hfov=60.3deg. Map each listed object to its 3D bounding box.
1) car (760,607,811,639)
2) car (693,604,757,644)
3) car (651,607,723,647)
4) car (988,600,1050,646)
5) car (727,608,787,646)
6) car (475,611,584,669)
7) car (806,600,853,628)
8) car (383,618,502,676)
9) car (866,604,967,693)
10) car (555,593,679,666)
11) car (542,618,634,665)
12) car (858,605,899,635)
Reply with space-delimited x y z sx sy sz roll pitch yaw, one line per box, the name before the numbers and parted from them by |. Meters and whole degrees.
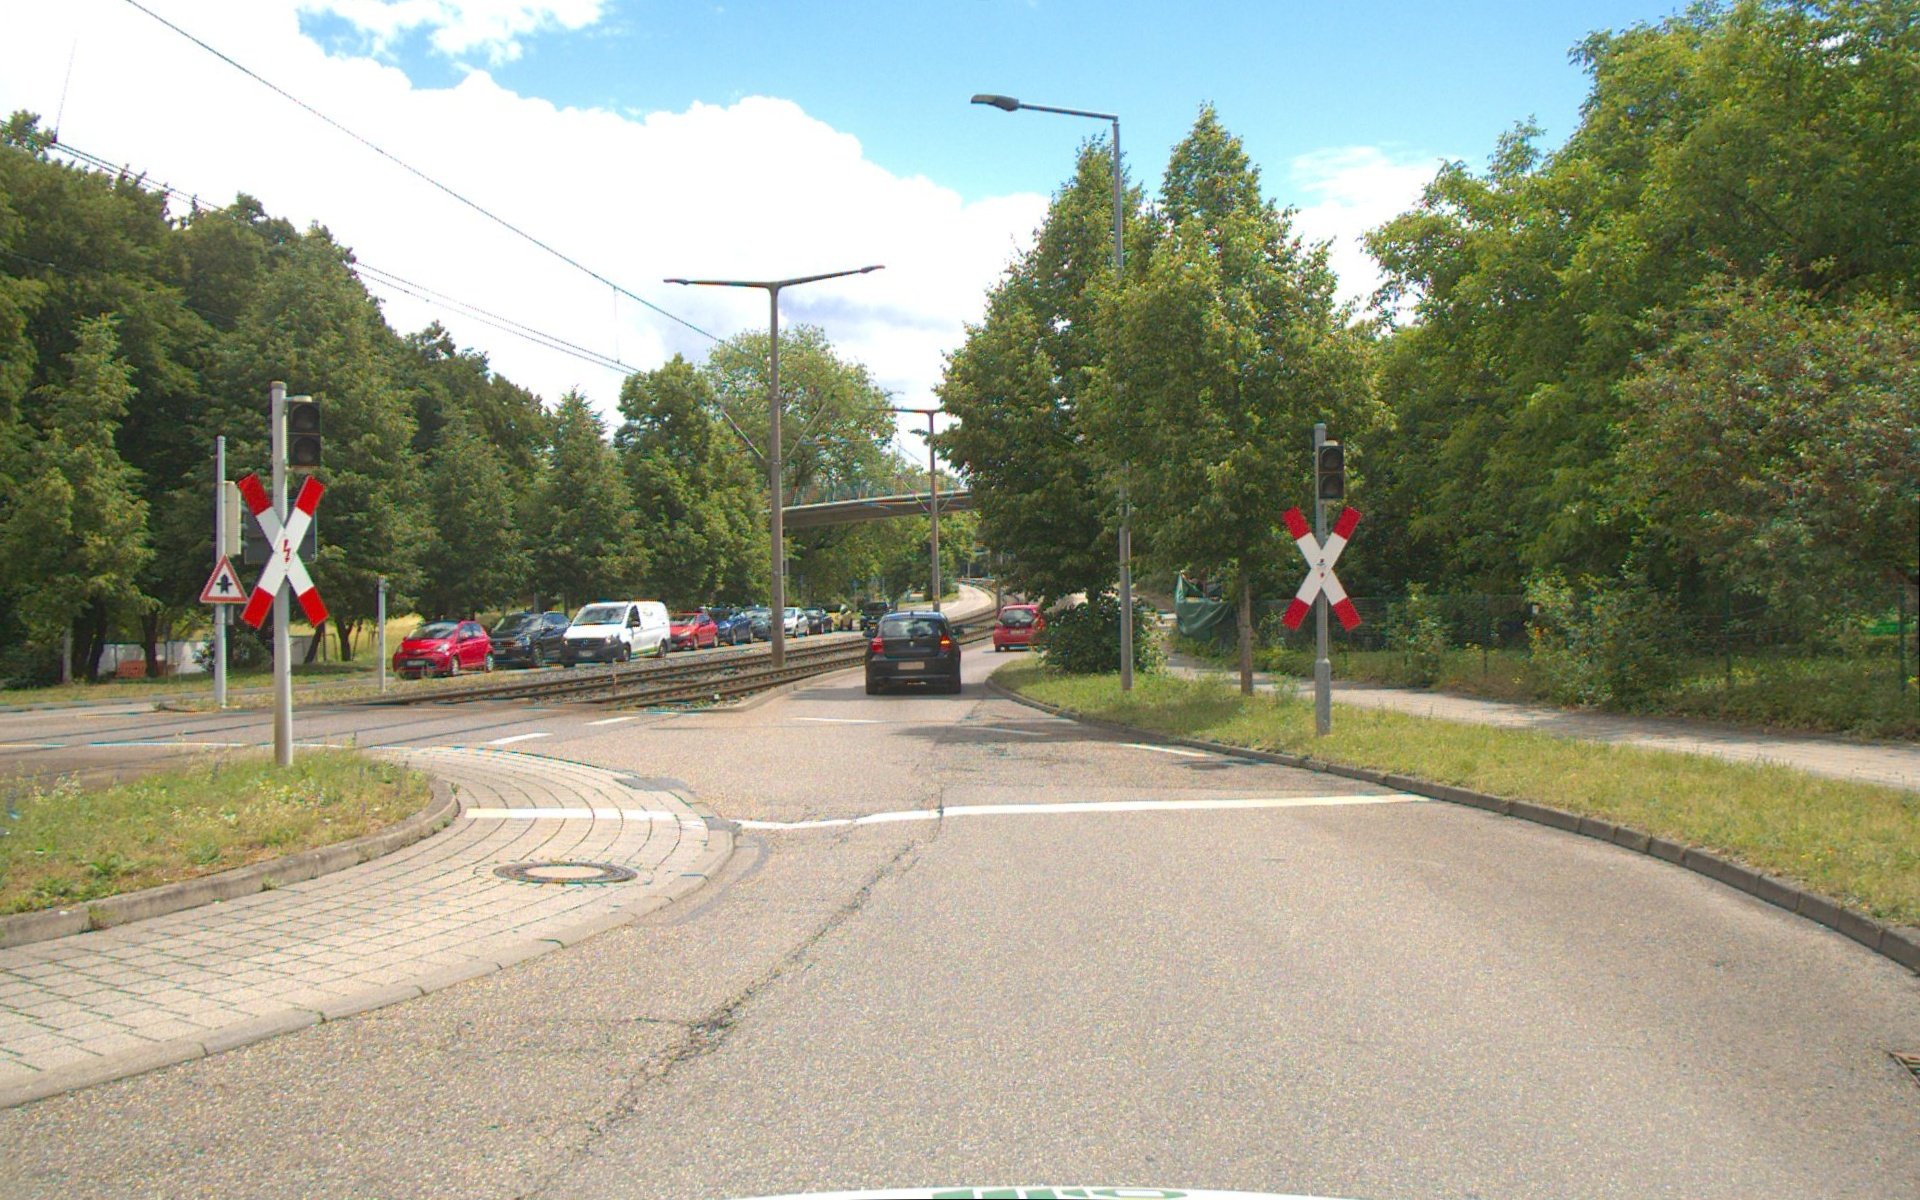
car | -8.536 1.118 81.252 1.559 1.520 4.195 0 -1 7
car | -9.919 1.041 70.205 1.524 1.624 4.163 0 -1 9
car | -10.703 1.082 65.053 1.578 1.520 4.050 0 -1 9
car | 1.960 0.763 53.980 1.589 1.469 3.424 0 -1 9
car | -9.238 1.222 75.518 1.607 1.651 4.129 -1 -1 9
car | -12.860 1.197 49.679 1.546 1.633 4.377 0 -1 9
car | -7.035 0.771 89.324 1.653 1.476 3.901 0 -1 9
car | -13.816 1.250 44.346 1.578 1.477 3.664 0 -1 9
car | -0.729 0.824 30.137 1.673 1.486 3.960 1 0 0
car | -10.085 0.892 49.059 1.835 2.054 5.239 0 -1 9
car | -12.163 1.366 54.275 1.578 1.487 4.010 0 -1 9
car | -4.501 1.130 91.626 1.579 1.602 4.003 0 -1 8
